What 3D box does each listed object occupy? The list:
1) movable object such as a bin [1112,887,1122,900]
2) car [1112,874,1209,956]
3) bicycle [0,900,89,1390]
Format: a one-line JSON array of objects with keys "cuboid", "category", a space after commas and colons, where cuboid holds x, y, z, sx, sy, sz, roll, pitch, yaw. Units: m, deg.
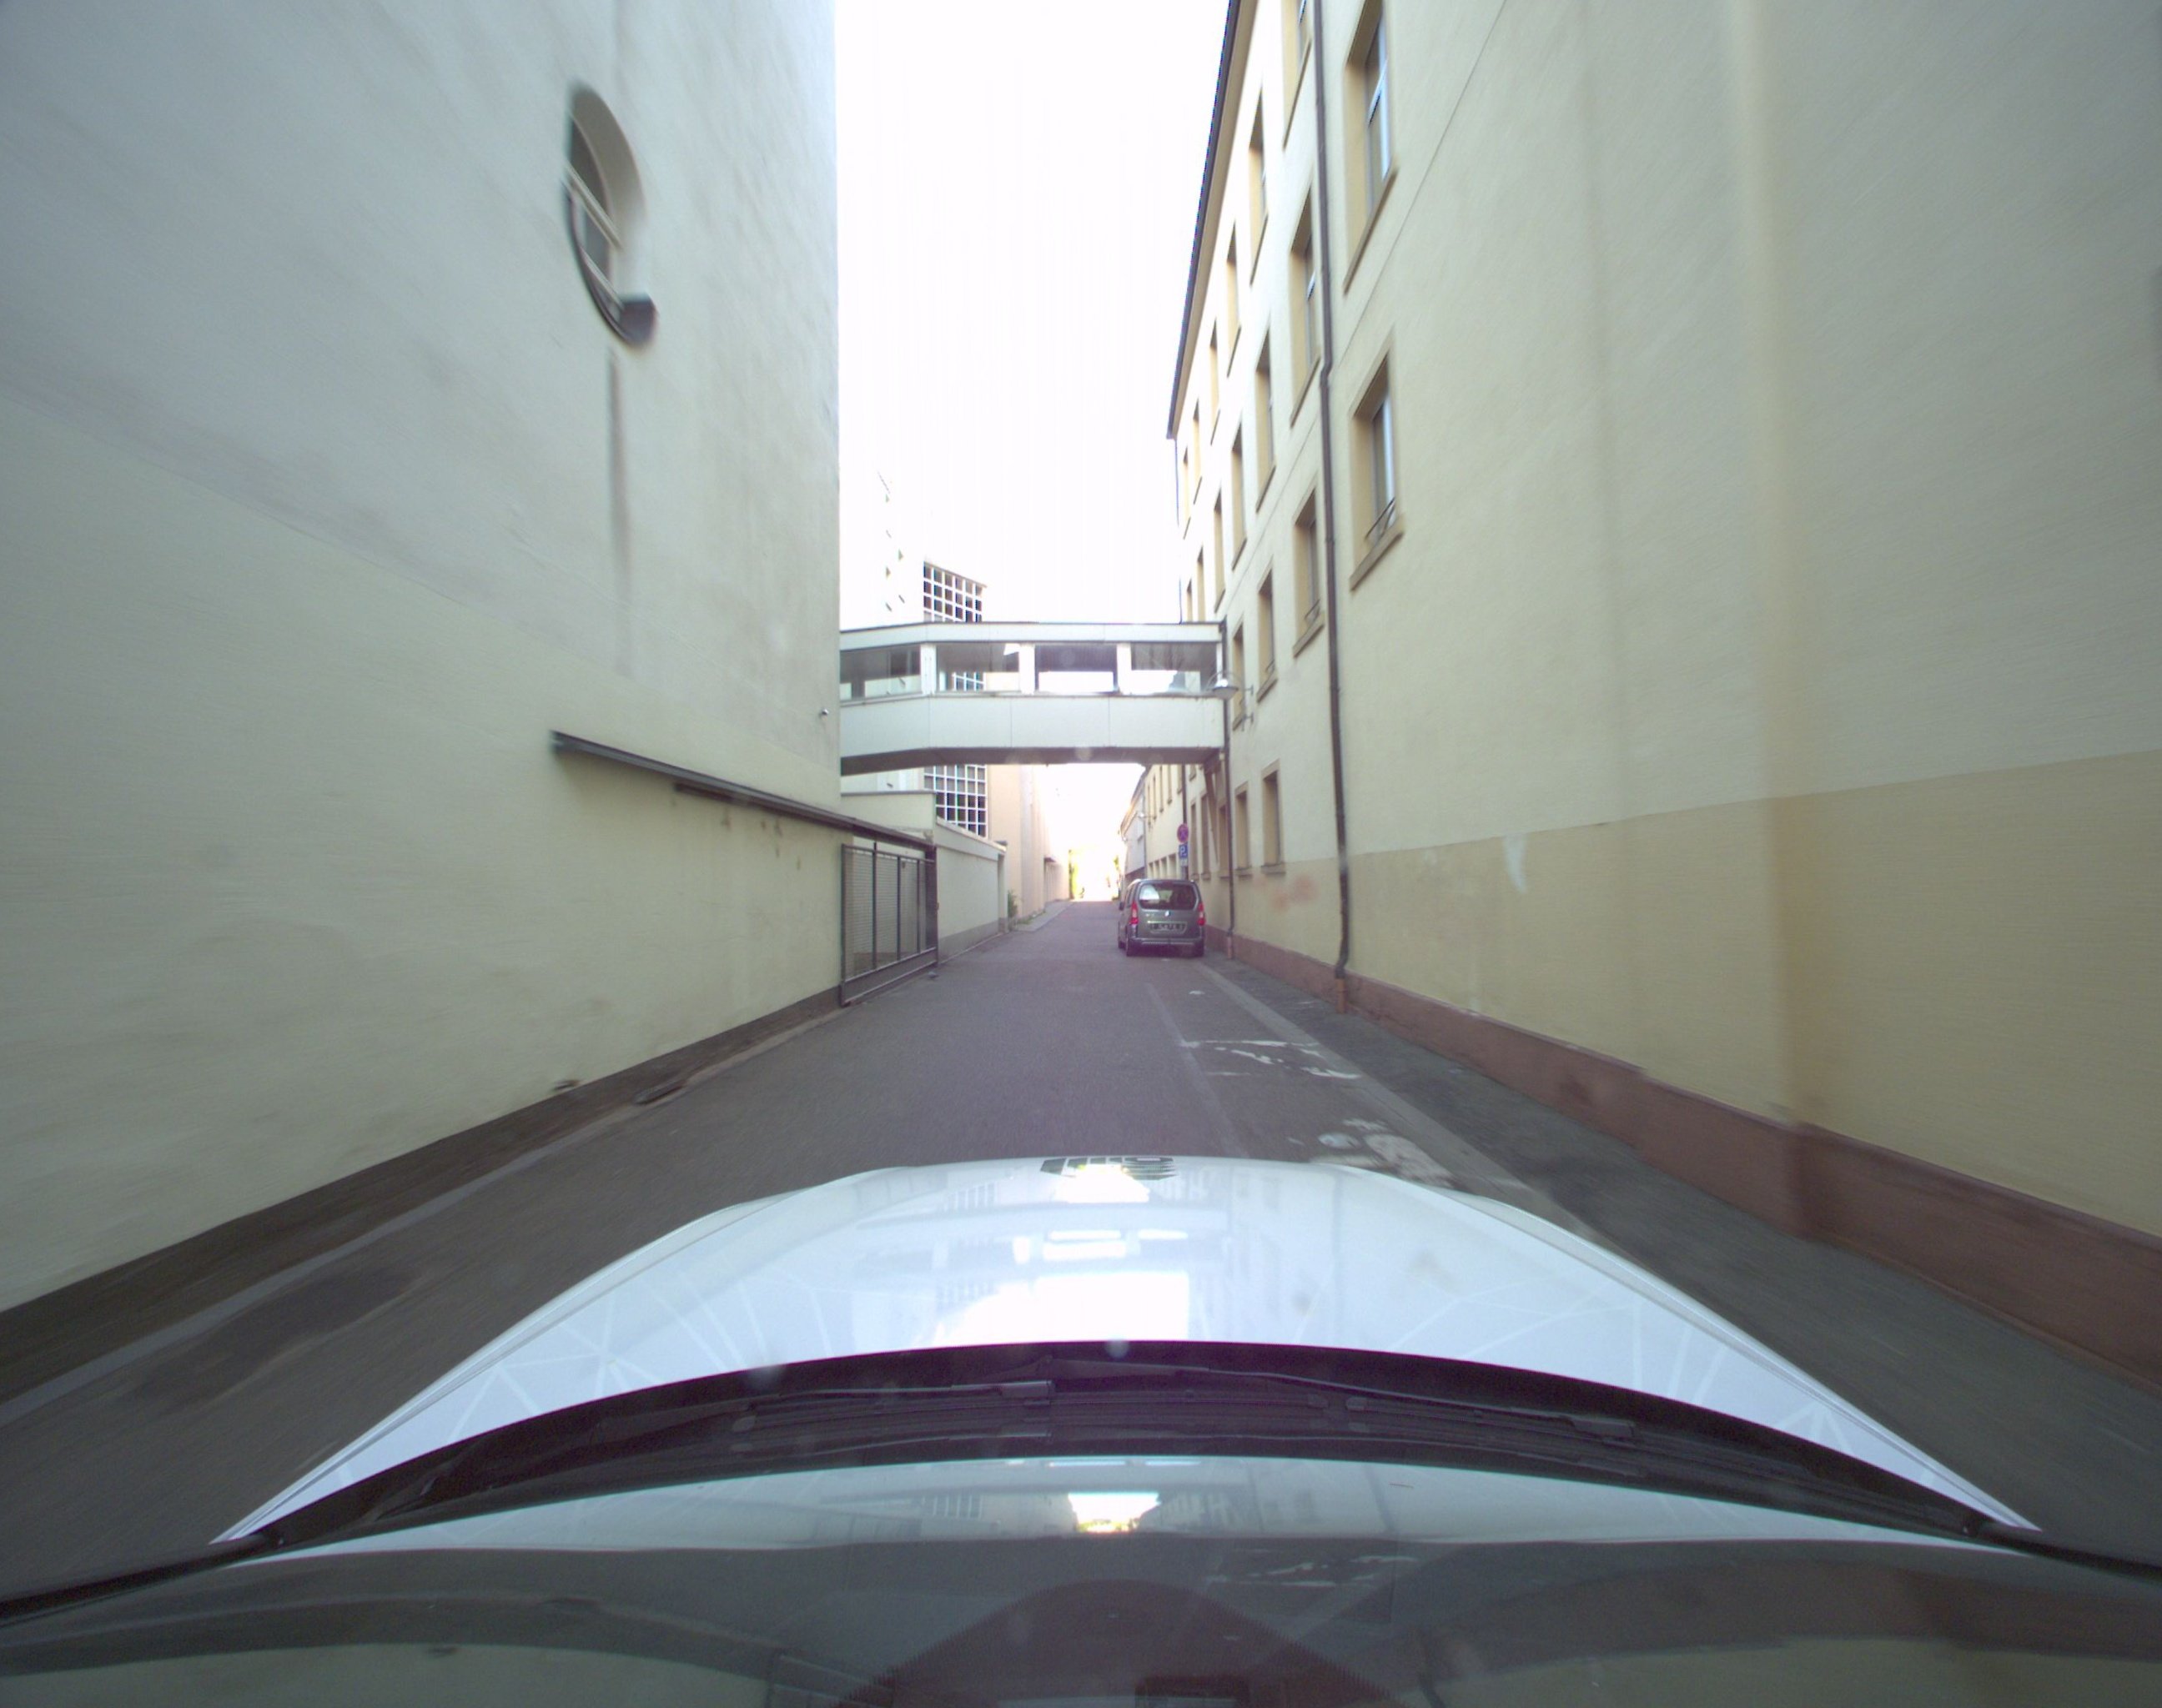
[{"cuboid": [4.063, 4.494, 92.458, 1.103, 1.436, 1.414, -1, 0, 1], "category": "movable object such as a bin"}, {"cuboid": [1.864, 1.467, 20.195, 1.850, 1.756, 4.158, 2, -3, -2], "category": "car"}, {"cuboid": [-2.717, 0.635, 1.086, 0.593, 1.079, 1.756, -1, -2, 1], "category": "bicycle"}]
